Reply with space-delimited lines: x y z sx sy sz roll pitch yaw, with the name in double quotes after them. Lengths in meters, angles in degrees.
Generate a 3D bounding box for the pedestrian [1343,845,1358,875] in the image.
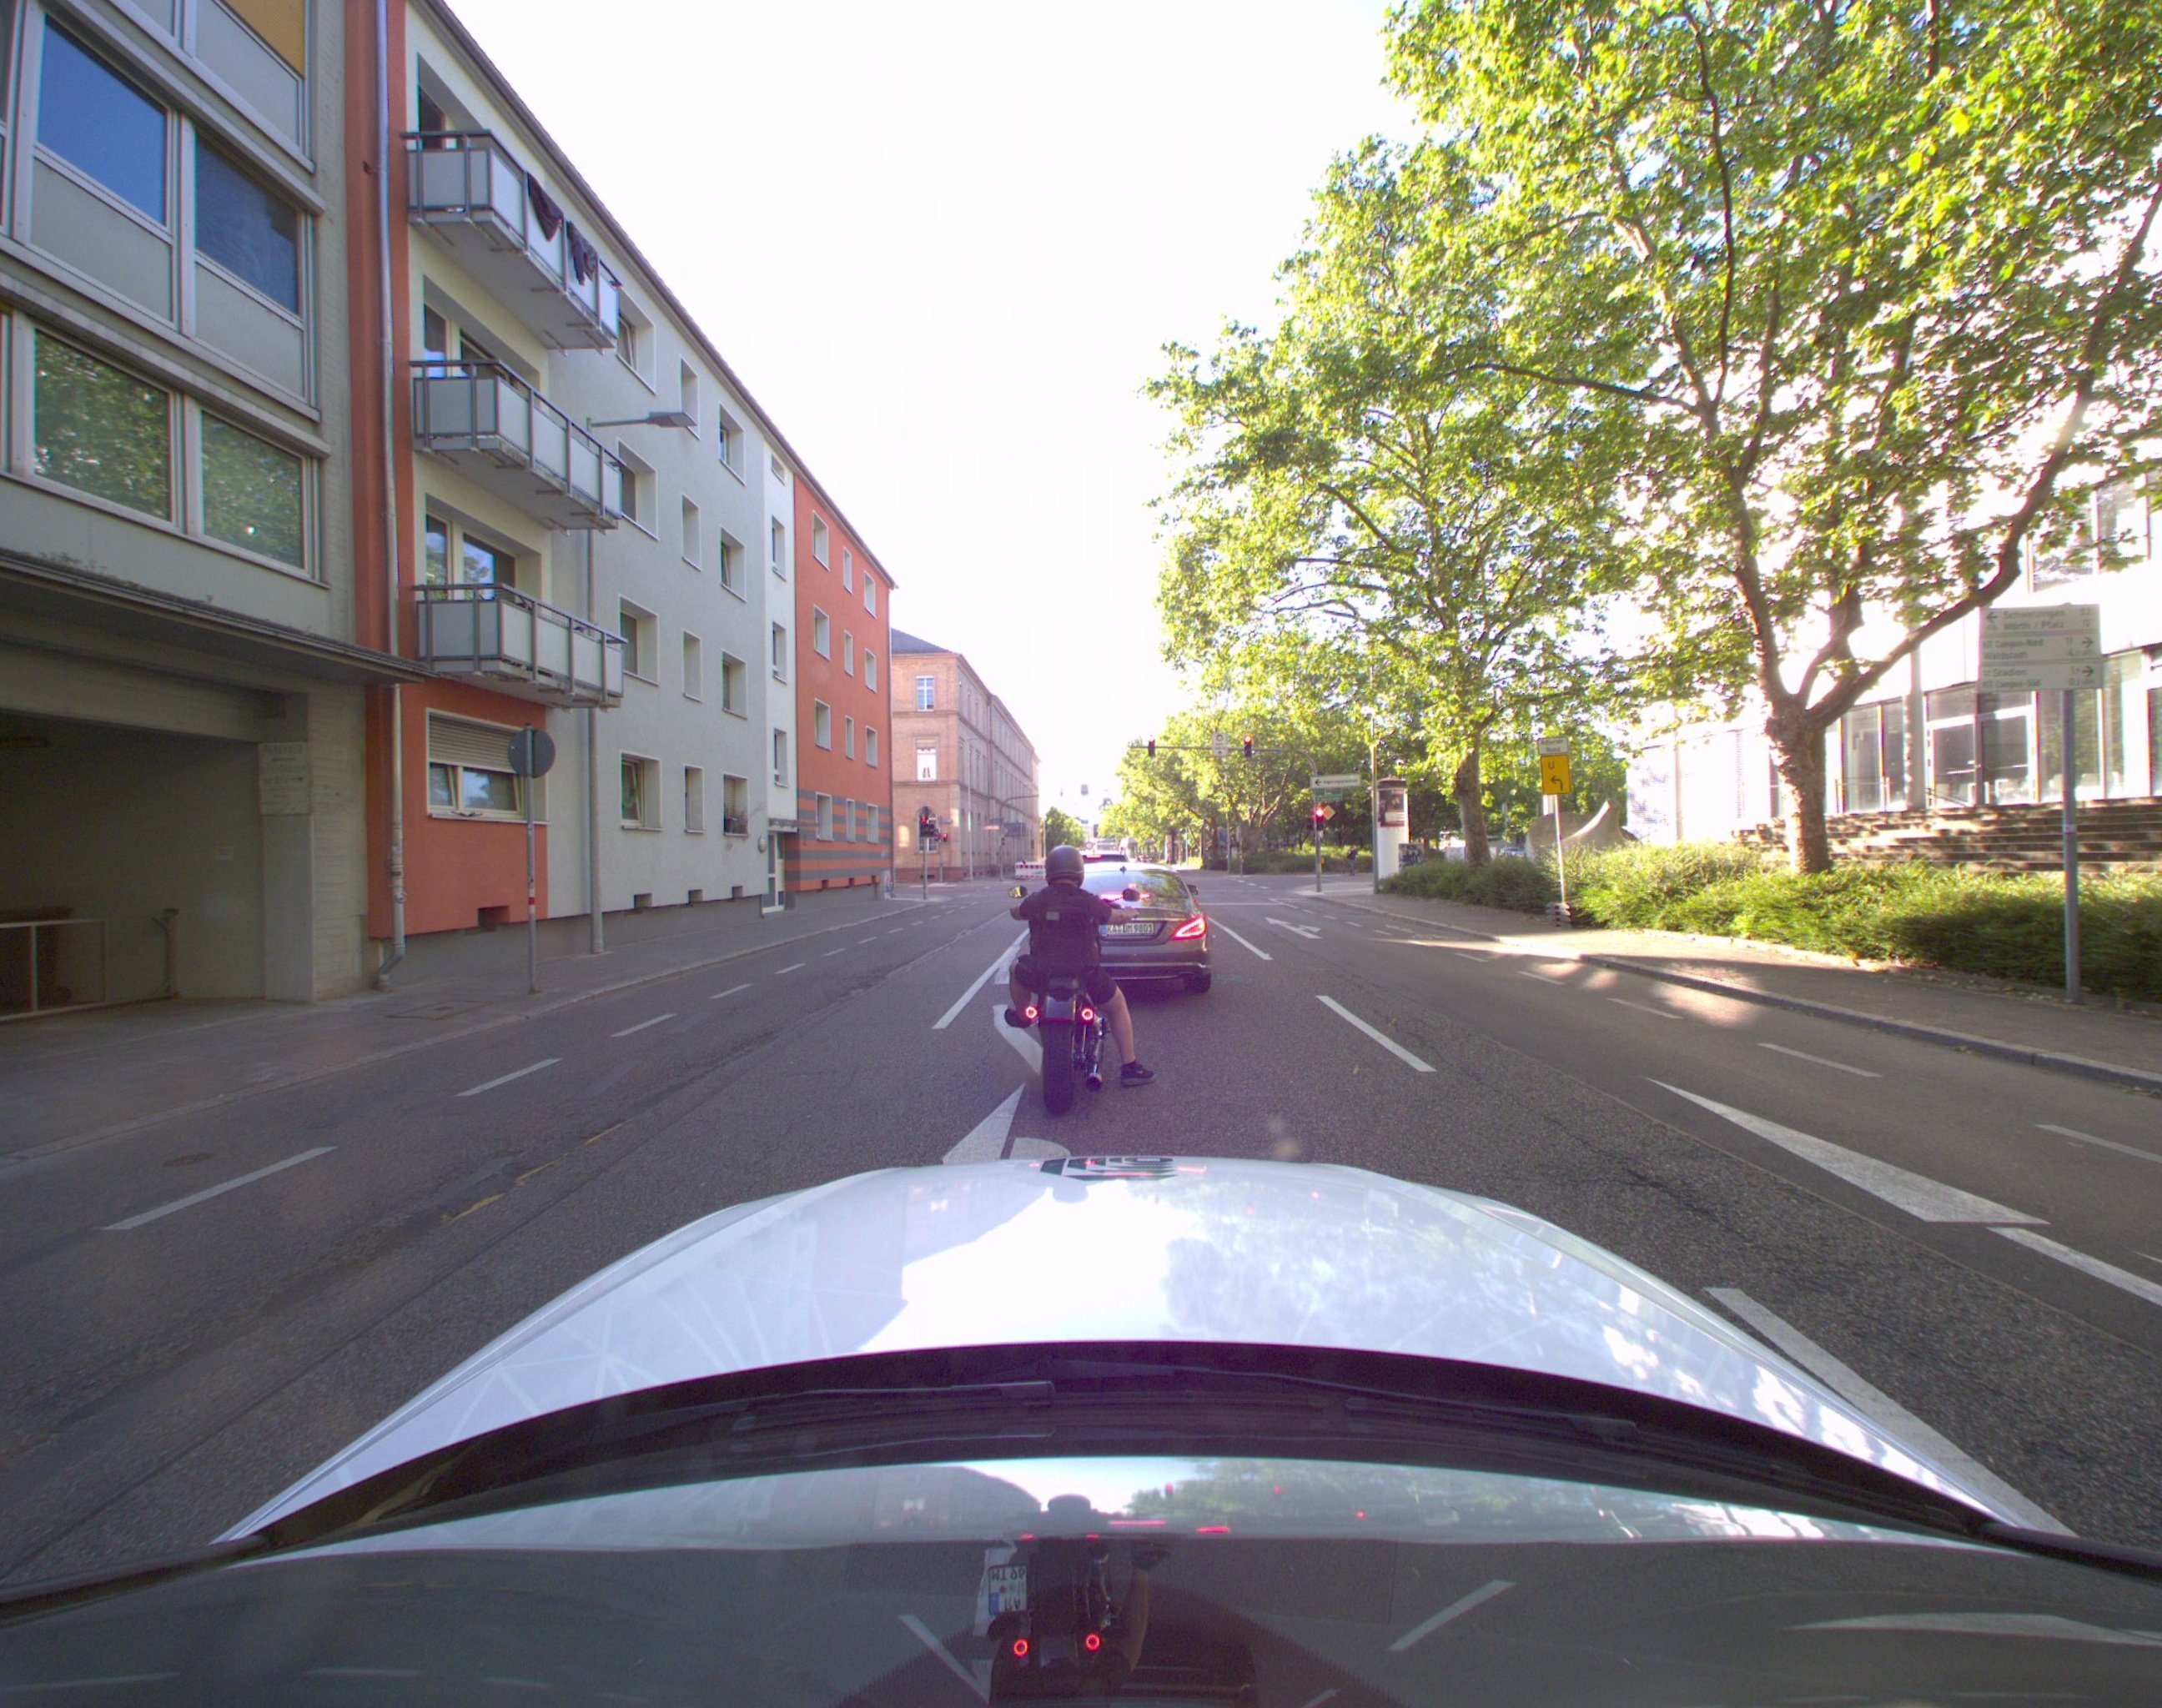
16.156 0.346 48.825 0.732 1.778 0.731 -1 -1 6 "pedestrian"

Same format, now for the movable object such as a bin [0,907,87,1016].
-11.288 1.123 8.659 0.533 1.079 0.723 0 -1 3 "movable object such as a bin"

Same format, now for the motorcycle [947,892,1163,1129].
-0.045 0.915 5.634 1.111 1.207 2.217 -1 -1 8 "motorcycle"

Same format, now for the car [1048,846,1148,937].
0.378 0.714 17.080 1.856 1.678 4.001 0 -1 2 "car"

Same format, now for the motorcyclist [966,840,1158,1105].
-0.073 0.707 5.416 1.093 1.566 1.074 -1 -1 8 "motorcyclist"

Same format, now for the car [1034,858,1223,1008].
0.517 0.782 9.791 1.815 1.437 3.807 0 -1 2 "car"
